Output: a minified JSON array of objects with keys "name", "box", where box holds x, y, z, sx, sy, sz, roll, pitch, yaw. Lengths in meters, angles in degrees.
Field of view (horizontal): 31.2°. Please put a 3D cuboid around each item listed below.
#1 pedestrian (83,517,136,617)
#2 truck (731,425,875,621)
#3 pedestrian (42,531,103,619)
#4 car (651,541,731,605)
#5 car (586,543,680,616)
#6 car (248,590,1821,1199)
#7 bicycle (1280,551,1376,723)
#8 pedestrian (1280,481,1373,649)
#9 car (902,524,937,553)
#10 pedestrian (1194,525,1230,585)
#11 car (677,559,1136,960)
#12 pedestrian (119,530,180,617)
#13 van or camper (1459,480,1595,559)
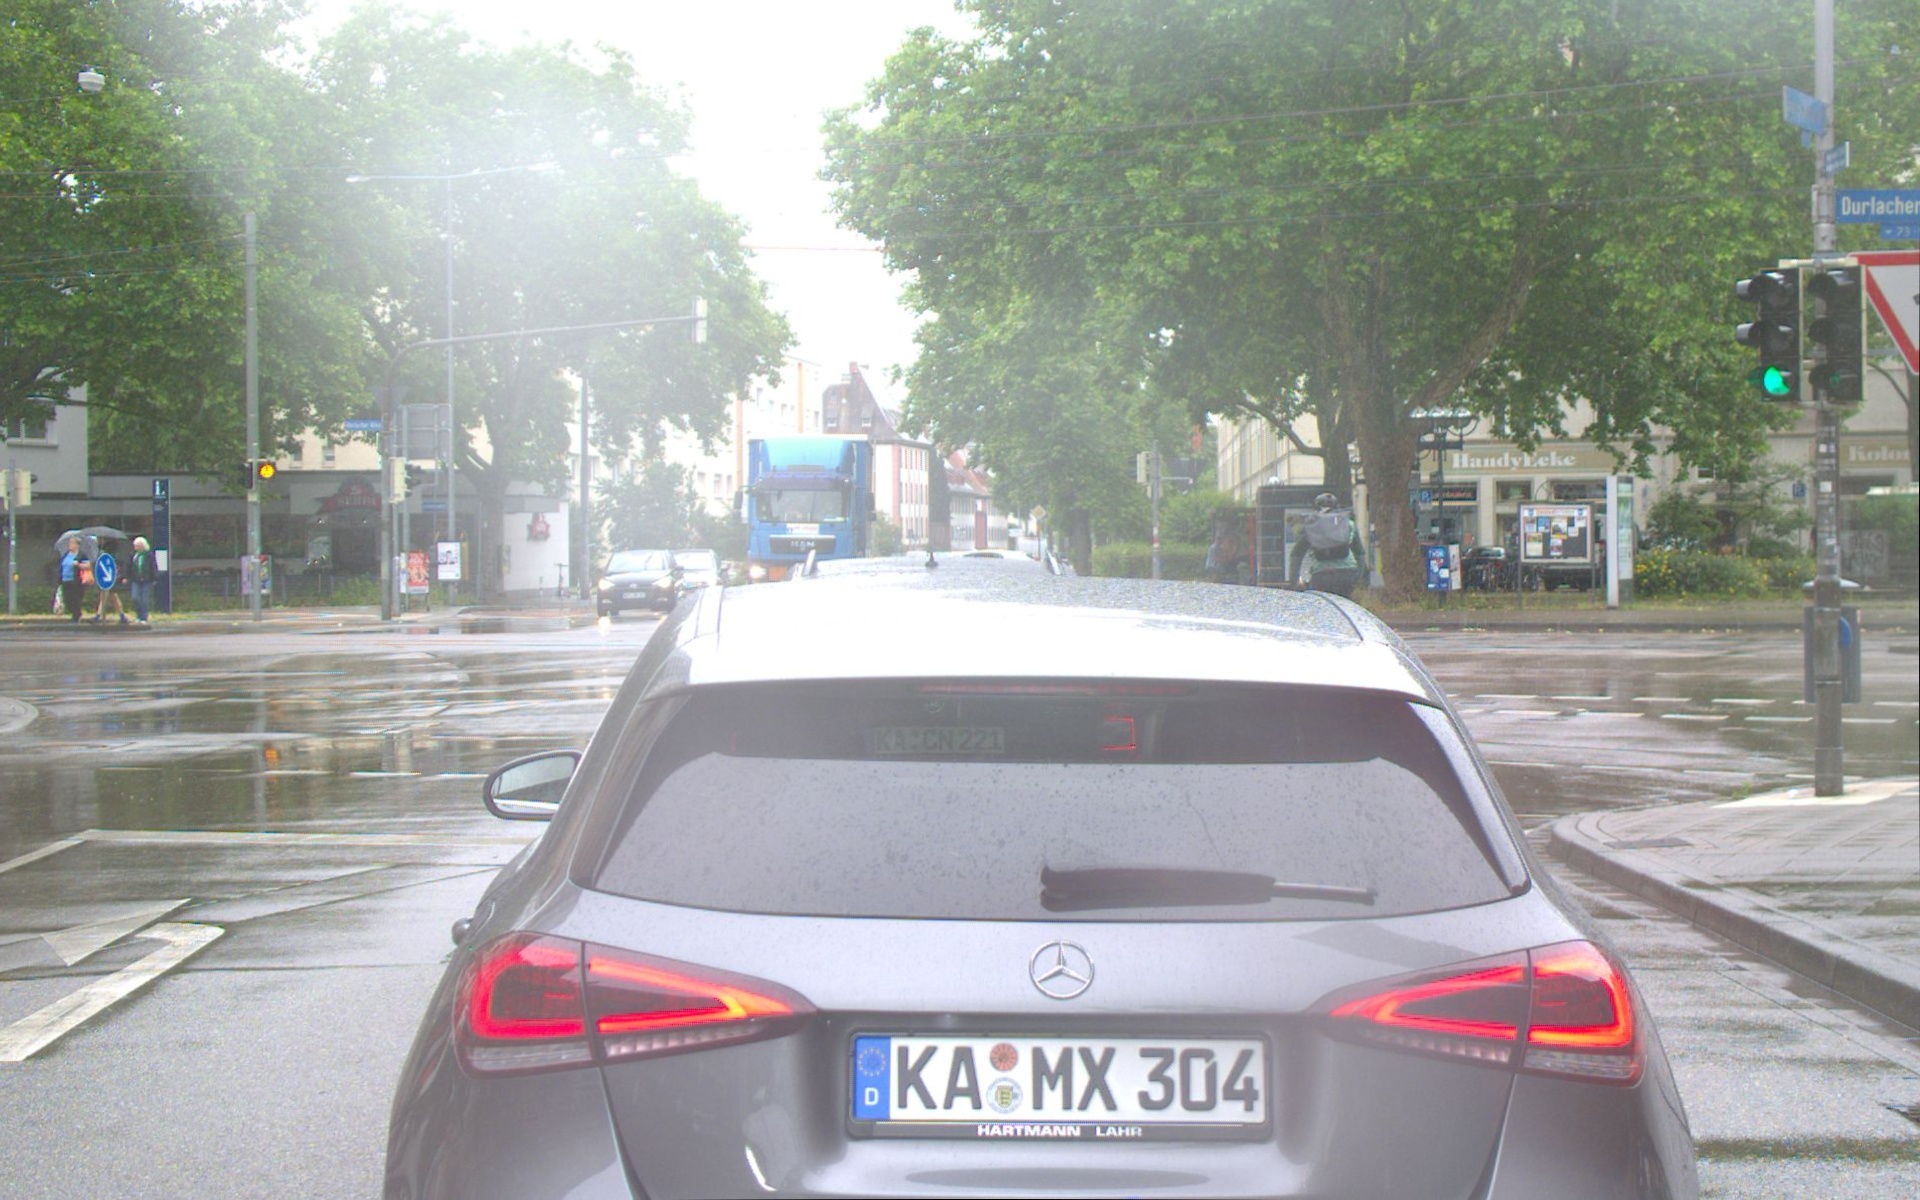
[{"name":"pedestrian","box":[-15.715,-0.607,63.488,0.677,1.832,0.640,-2,1,-42]},{"name":"truck","box":[-3.388,-1.684,76.689,2.845,4.011,10.317,-1,1,-1]},{"name":"pedestrian","box":[-16.970,-0.481,65.768,0.792,1.643,0.816,-1,1,15]},{"name":"car","box":[-6.723,-0.695,86.208,1.726,1.541,4.340,-1,1,-1]},{"name":"car","box":[-7.171,-0.470,75.676,1.743,1.541,3.779,-1,1,-1]},{"name":"car","box":[0.061,0.705,5.687,1.791,1.368,3.507,1,1,-1]},{"name":"bicycle","box":[3.143,0.283,29.319,0.749,1.372,2.706,-1,1,6]},{"name":"pedestrian","box":[3.131,-0.301,29.353,0.744,1.393,1.047,-1,1,7]},{"name":"car","box":[-2.568,-3.918,218.926,1.890,1.830,4.000,-1,1,3]},{"name":"pedestrian","box":[7.002,-1.239,95.517,0.718,1.663,0.664,0,1,36]},{"name":"car","box":[-0.213,0.544,14.249,1.607,1.368,4.000,-1,1,-1]},{"name":"pedestrian","box":[-15.575,-0.510,66.067,0.835,1.643,0.755,-1,1,15]},{"name":"van or camper","box":[16.805,-2.358,101.647,2.400,2.224,5.422,0,1,27]}]
